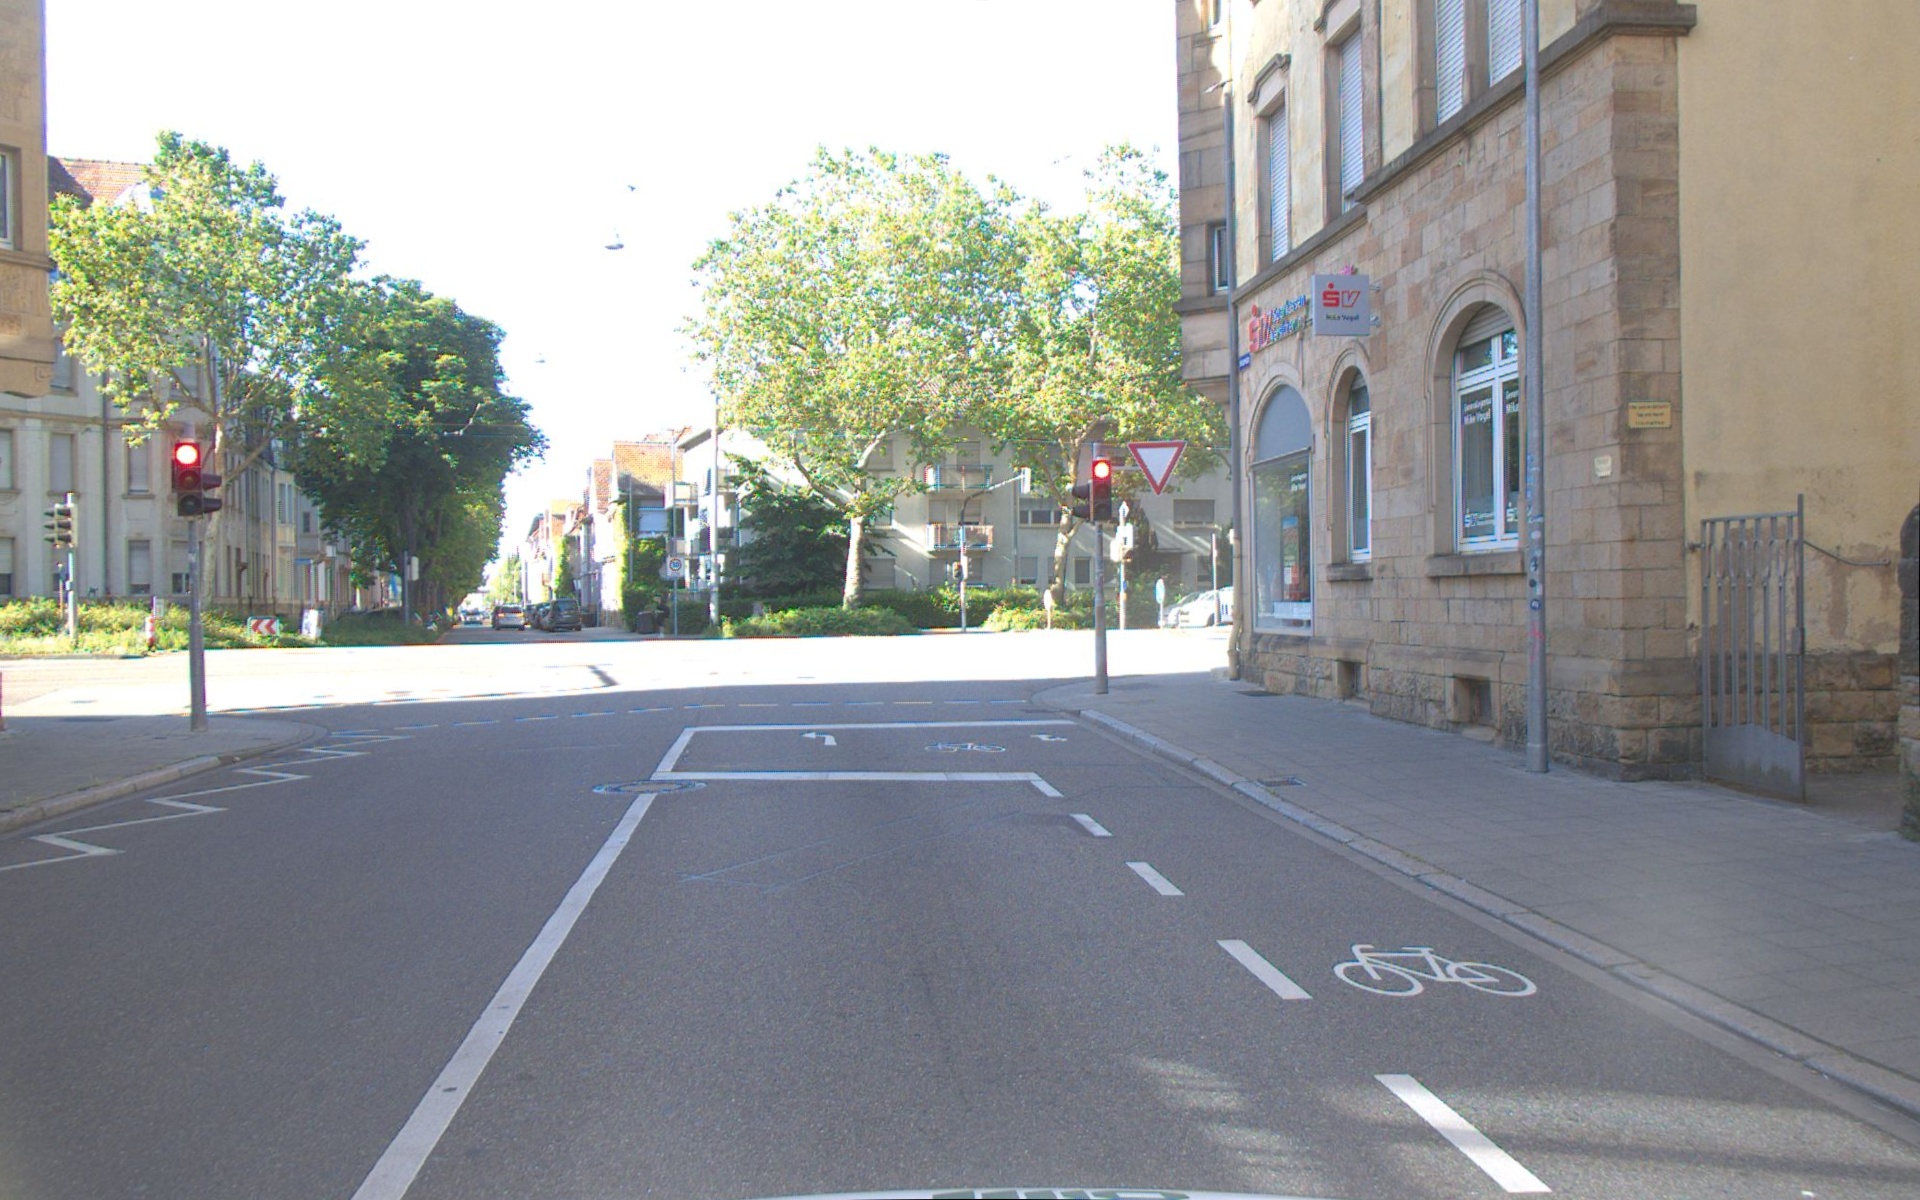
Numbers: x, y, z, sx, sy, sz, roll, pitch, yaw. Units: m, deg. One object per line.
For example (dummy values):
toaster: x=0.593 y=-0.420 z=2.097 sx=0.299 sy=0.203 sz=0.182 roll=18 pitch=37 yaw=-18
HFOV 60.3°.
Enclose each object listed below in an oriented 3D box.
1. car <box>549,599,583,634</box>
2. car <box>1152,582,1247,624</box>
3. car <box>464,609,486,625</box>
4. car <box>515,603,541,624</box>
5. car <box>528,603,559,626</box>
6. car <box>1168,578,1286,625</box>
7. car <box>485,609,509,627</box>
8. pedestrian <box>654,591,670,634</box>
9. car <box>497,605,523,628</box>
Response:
car: x=-24.401 y=0.992 z=102.470 sx=1.960 sy=2.049 sz=3.986 roll=-1 pitch=1 yaw=-14
car: x=9.234 y=0.106 z=63.781 sx=3.339 sy=1.513 sz=1.512 roll=-1 pitch=1 yaw=-27
car: x=-47.278 y=1.609 z=161.226 sx=1.963 sy=1.471 sz=3.979 roll=-1 pitch=1 yaw=-18
car: x=-39.791 y=1.215 z=152.216 sx=1.964 sy=1.865 sz=3.976 roll=0 pitch=0 yaw=-20
car: x=-33.376 y=1.168 z=132.481 sx=1.964 sy=1.865 sz=3.976 roll=0 pitch=0 yaw=-20
car: x=9.205 y=0.034 z=56.966 sx=3.738 sy=1.498 sz=1.617 roll=-2 pitch=1 yaw=-25
car: x=-36.989 y=1.406 z=132.218 sx=1.711 sy=1.360 sz=3.815 roll=-1 pitch=1 yaw=-18
pedestrian: x=-12.419 y=0.540 z=68.854 sx=0.621 sy=1.780 sz=0.658 roll=0 pitch=-1 yaw=-9
car: x=-30.731 y=1.123 z=112.929 sx=1.647 sy=1.508 sz=3.507 roll=0 pitch=0 yaw=-16
